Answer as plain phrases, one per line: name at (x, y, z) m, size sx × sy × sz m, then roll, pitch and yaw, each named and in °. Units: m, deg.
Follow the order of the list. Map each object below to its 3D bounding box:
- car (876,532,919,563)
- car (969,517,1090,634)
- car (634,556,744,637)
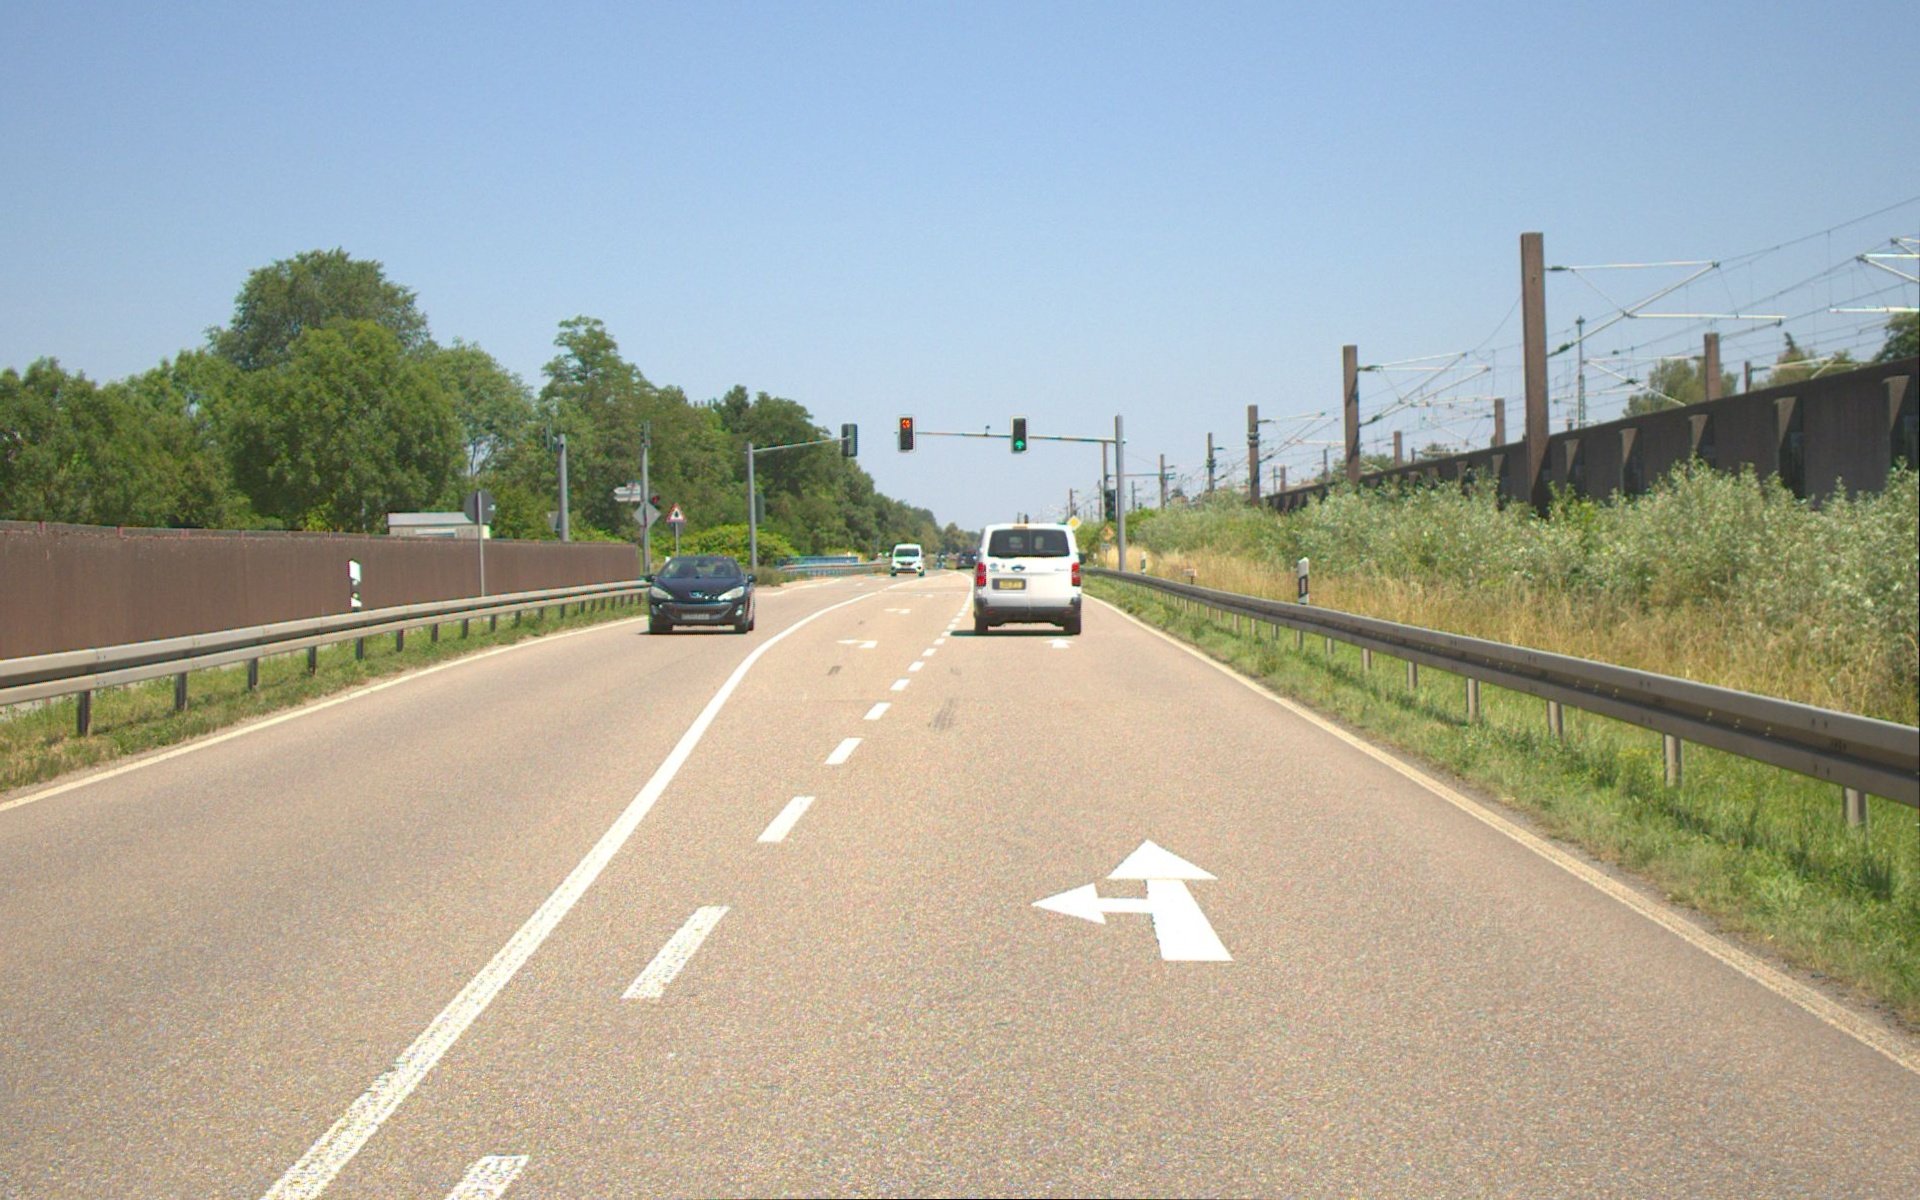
car at (-3.542, -2.962, 195.341) m, size 1.887 × 1.734 × 4.778 m, roll 0°, pitch 1°, yaw -8°
car at (1.185, -0.454, 60.326) m, size 1.993 × 1.977 × 4.060 m, roll 0°, pitch 1°, yaw -1°
car at (-4.896, -0.092, 62.597) m, size 1.845 × 1.385 × 4.191 m, roll 0°, pitch 1°, yaw -3°
